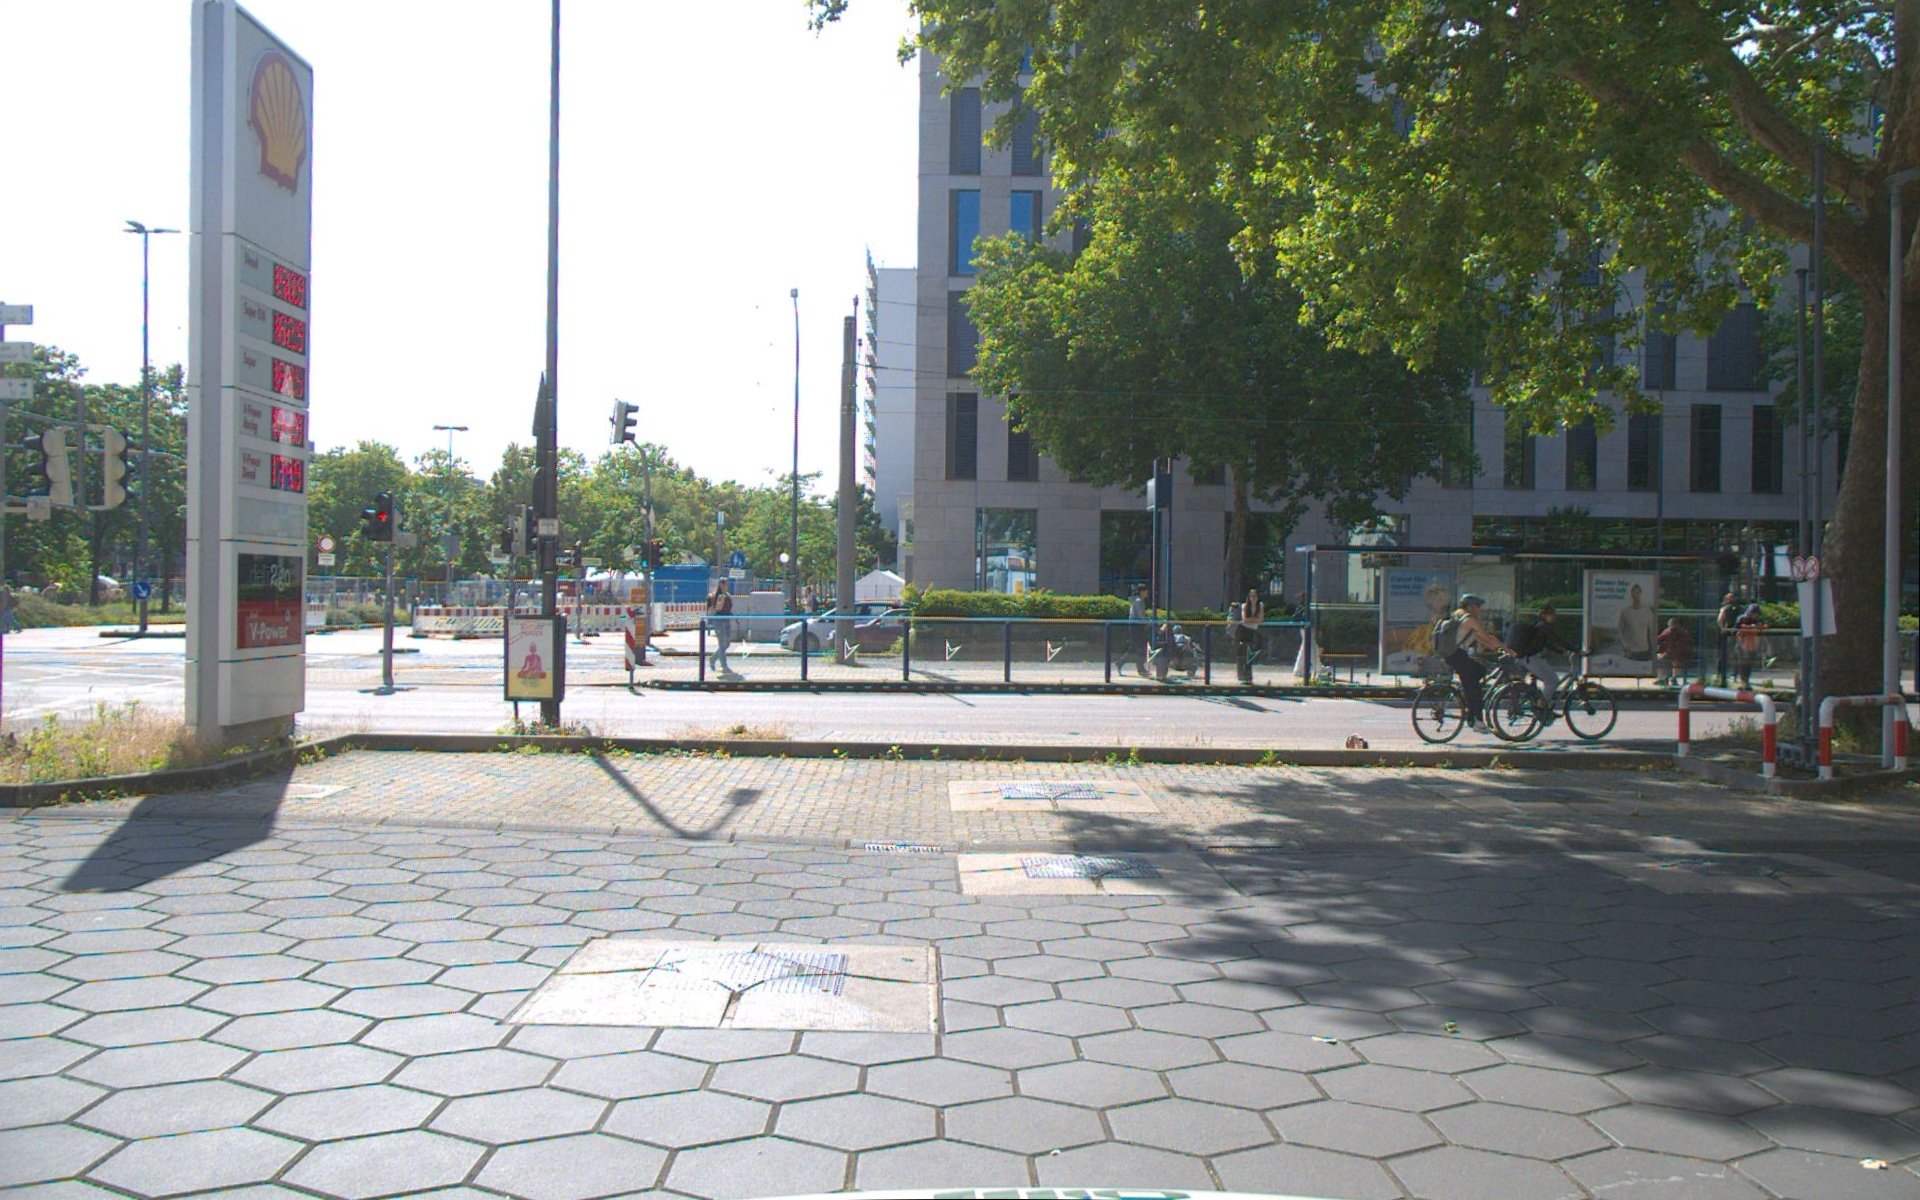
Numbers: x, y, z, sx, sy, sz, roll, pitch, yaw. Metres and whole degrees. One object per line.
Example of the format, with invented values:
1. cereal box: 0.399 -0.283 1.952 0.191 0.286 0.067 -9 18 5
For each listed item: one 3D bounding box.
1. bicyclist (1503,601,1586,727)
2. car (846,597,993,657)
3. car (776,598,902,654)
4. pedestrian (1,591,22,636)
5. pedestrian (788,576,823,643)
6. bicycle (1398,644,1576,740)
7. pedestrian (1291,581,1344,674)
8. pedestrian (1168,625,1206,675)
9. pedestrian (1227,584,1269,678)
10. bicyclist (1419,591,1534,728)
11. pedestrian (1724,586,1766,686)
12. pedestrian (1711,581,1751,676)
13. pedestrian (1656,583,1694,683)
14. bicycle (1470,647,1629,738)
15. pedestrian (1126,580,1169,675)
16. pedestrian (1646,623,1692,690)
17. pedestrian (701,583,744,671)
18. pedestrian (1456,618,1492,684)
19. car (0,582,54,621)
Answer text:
1. bicyclist: 7.395 0.802 20.945 0.845 1.571 0.534 1 -1 -2
2. car: -1.154 0.730 45.690 3.911 1.579 1.701 1 0 -7
3. car: -3.573 0.748 48.594 3.612 1.579 1.589 1 0 -7
4. pedestrian: -31.588 0.442 55.085 0.556 1.495 0.509 1 0 -26
5. pedestrian: -5.355 0.320 57.435 1.086 2.287 1.102 1 0 -1
6. bicycle: 6.346 1.101 19.933 1.983 1.101 0.638 1 0 -11
7. pedestrian: 6.655 0.509 30.818 0.912 1.712 0.503 1 0 7
8. pedestrian: 4.141 0.911 30.211 0.676 0.895 0.503 1 0 7
9. pedestrian: 5.067 0.542 29.103 0.572 1.619 0.670 1 1 -2
10. bicyclist: 6.218 0.708 19.918 1.148 1.608 0.638 1 0 -11
11. pedestrian: 14.011 0.634 29.517 0.488 1.766 0.524 1 0 1
12. pedestrian: 14.485 0.532 31.080 0.488 1.766 0.524 1 0 1
13. pedestrian: 12.835 0.590 29.684 0.488 1.766 0.406 1 0 1
14. bicycle: 7.446 1.161 20.911 1.824 1.101 0.524 1 0 -3
15. pedestrian: 3.432 0.499 30.304 0.760 1.712 0.503 1 0 7
16. pedestrian: 12.683 1.006 29.596 0.615 1.158 0.524 1 0 5
17. pedestrian: -4.326 0.486 30.158 0.636 1.567 0.503 1 0 8
18. pedestrian: 9.138 0.897 29.415 0.488 1.158 0.524 1 0 5
19. car: -47.218 0.086 81.598 3.904 1.847 2.001 -1 0 3
